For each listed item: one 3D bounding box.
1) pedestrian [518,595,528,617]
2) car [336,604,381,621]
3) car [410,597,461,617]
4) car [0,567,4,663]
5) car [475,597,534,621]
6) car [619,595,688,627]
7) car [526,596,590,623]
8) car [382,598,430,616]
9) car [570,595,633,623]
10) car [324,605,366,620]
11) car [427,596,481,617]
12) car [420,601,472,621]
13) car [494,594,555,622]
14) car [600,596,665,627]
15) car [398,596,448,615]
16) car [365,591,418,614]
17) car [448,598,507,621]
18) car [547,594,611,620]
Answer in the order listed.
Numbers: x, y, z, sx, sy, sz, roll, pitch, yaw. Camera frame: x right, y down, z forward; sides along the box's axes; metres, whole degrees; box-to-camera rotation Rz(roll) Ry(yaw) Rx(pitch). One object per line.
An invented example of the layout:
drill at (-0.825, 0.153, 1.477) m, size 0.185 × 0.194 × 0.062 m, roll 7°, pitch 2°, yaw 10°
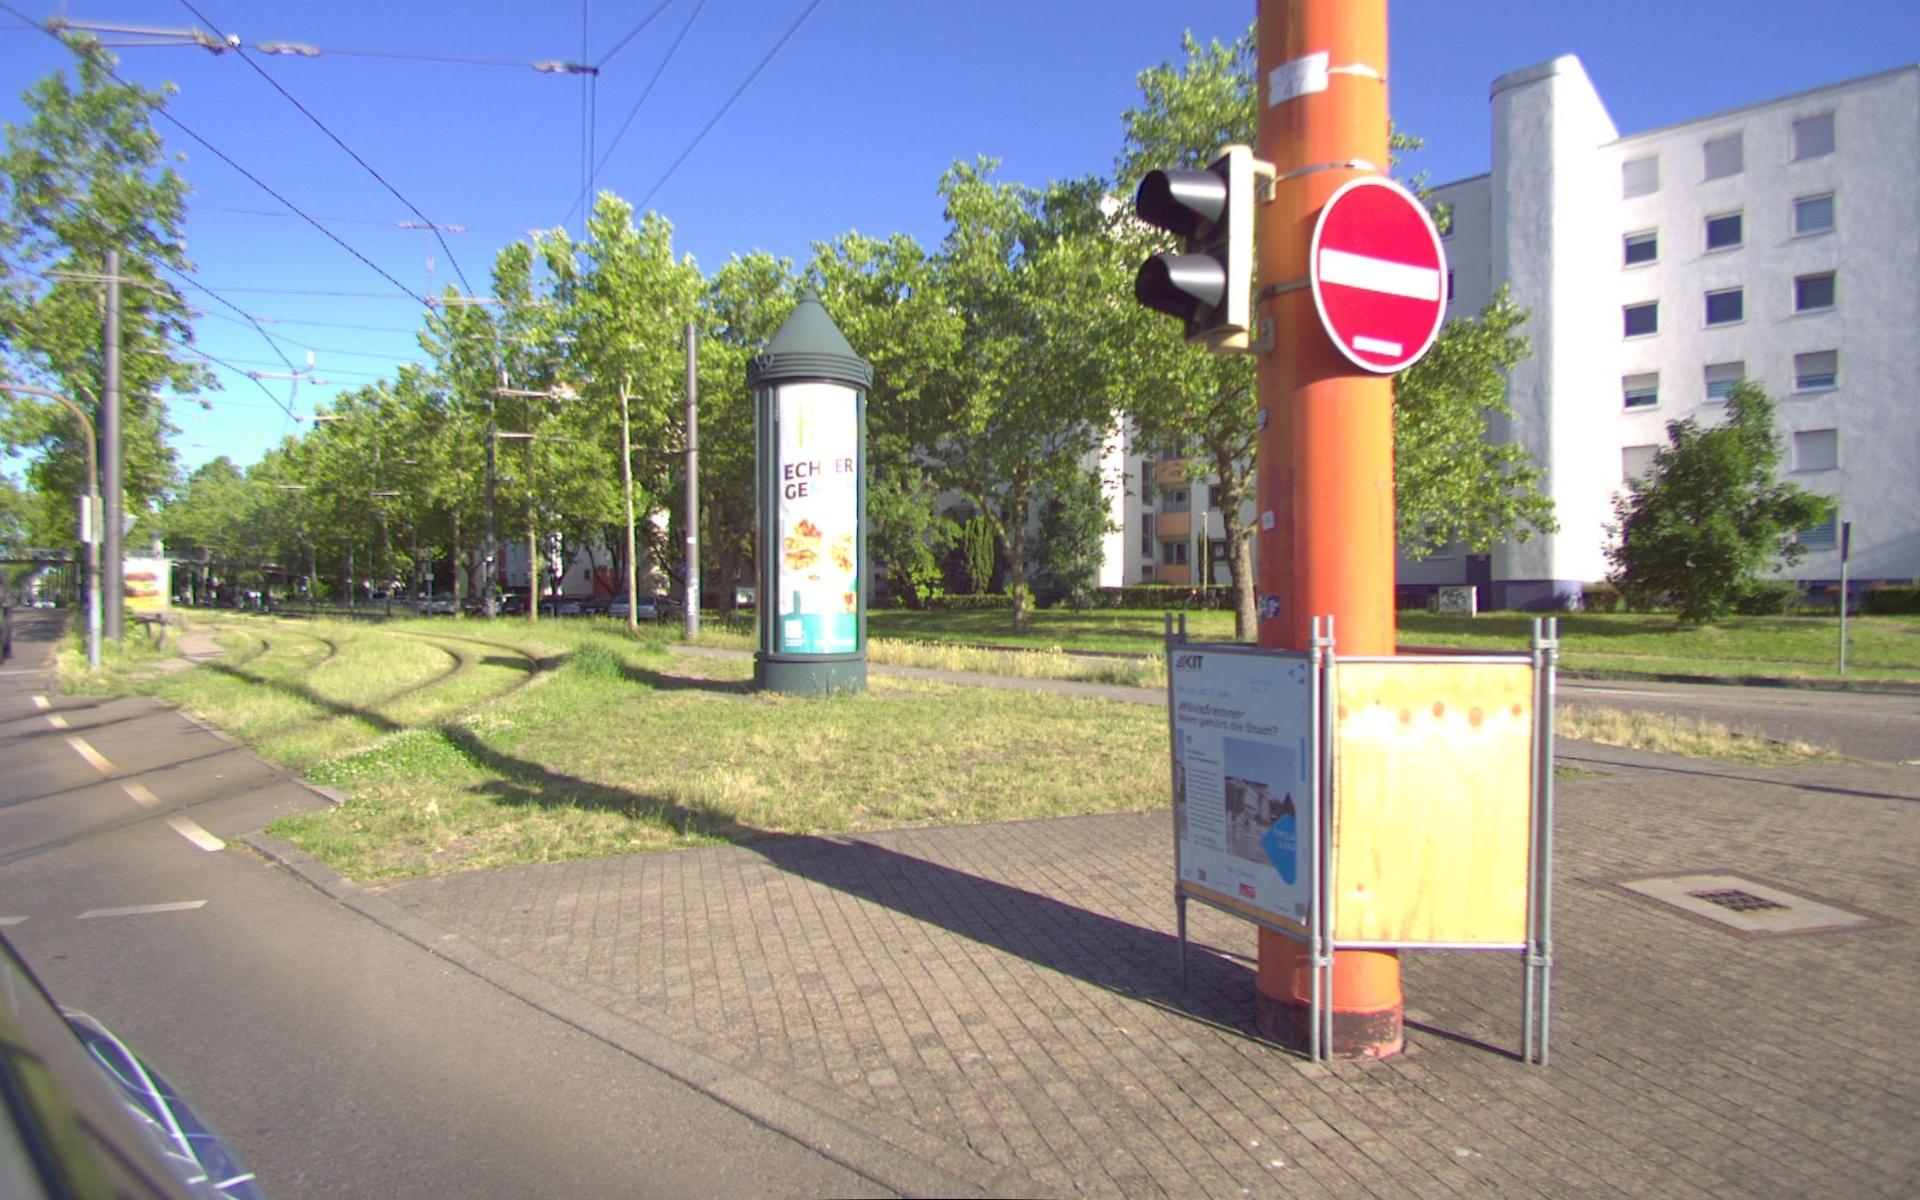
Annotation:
pedestrian at (-40.582, 0.573, 93.912) m, size 0.646 × 2.029 × 0.671 m, roll -1°, pitch 0°, yaw 45°
car at (-59.426, 1.227, 100.090) m, size 1.773 × 1.510 × 4.043 m, roll -2°, pitch 0°, yaw 5°
car at (-42.601, 0.560, 82.248) m, size 1.773 × 1.510 × 4.043 m, roll -2°, pitch 0°, yaw 5°
car at (-23.045, 0.345, 22.843) m, size 2.010 × 2.221 × 5.668 m, roll -1°, pitch 0°, yaw -42°
car at (-30.700, 0.576, 68.352) m, size 1.775 × 1.510 × 4.039 m, roll -2°, pitch 0°, yaw 8°
car at (-15.137, 0.523, 50.190) m, size 1.793 × 1.498 × 4.042 m, roll -2°, pitch 0°, yaw 6°
car at (-23.844, 0.518, 60.168) m, size 1.775 × 1.510 × 4.039 m, roll -2°, pitch 0°, yaw 8°
car at (-48.757, 0.573, 89.142) m, size 1.773 × 1.510 × 4.043 m, roll -2°, pitch 0°, yaw 5°
car at (-19.500, 0.457, 55.235) m, size 1.657 × 1.398 × 4.042 m, roll -2°, pitch 0°, yaw 6°
car at (-65.537, 1.313, 107.987) m, size 1.773 × 1.510 × 4.043 m, roll -2°, pitch 0°, yaw 5°
car at (-38.292, 0.462, 76.662) m, size 1.773 × 1.510 × 4.043 m, roll -2°, pitch 0°, yaw 5°
car at (-40.510, 0.866, 79.811) m, size 1.773 × 1.510 × 4.043 m, roll -2°, pitch 0°, yaw 5°
car at (-28.288, 0.493, 65.807) m, size 1.775 × 1.676 × 4.039 m, roll -2°, pitch 0°, yaw 8°
car at (-17.220, 0.574, 53.383) m, size 1.743 × 1.498 × 4.042 m, roll -2°, pitch 0°, yaw 6°
car at (-44.555, 0.453, 84.074) m, size 1.773 × 1.510 × 4.043 m, roll -2°, pitch 0°, yaw 5°
car at (-51.040, 0.217, 90.964) m, size 1.996 × 1.933 × 4.425 m, roll -2°, pitch 0°, yaw 5°
car at (-33.732, 0.633, 70.829) m, size 1.775 × 1.510 × 4.039 m, roll -2°, pitch 0°, yaw 8°
car at (-21.741, 0.386, 57.933) m, size 1.774 × 1.398 × 4.042 m, roll -2°, pitch 0°, yaw 6°
